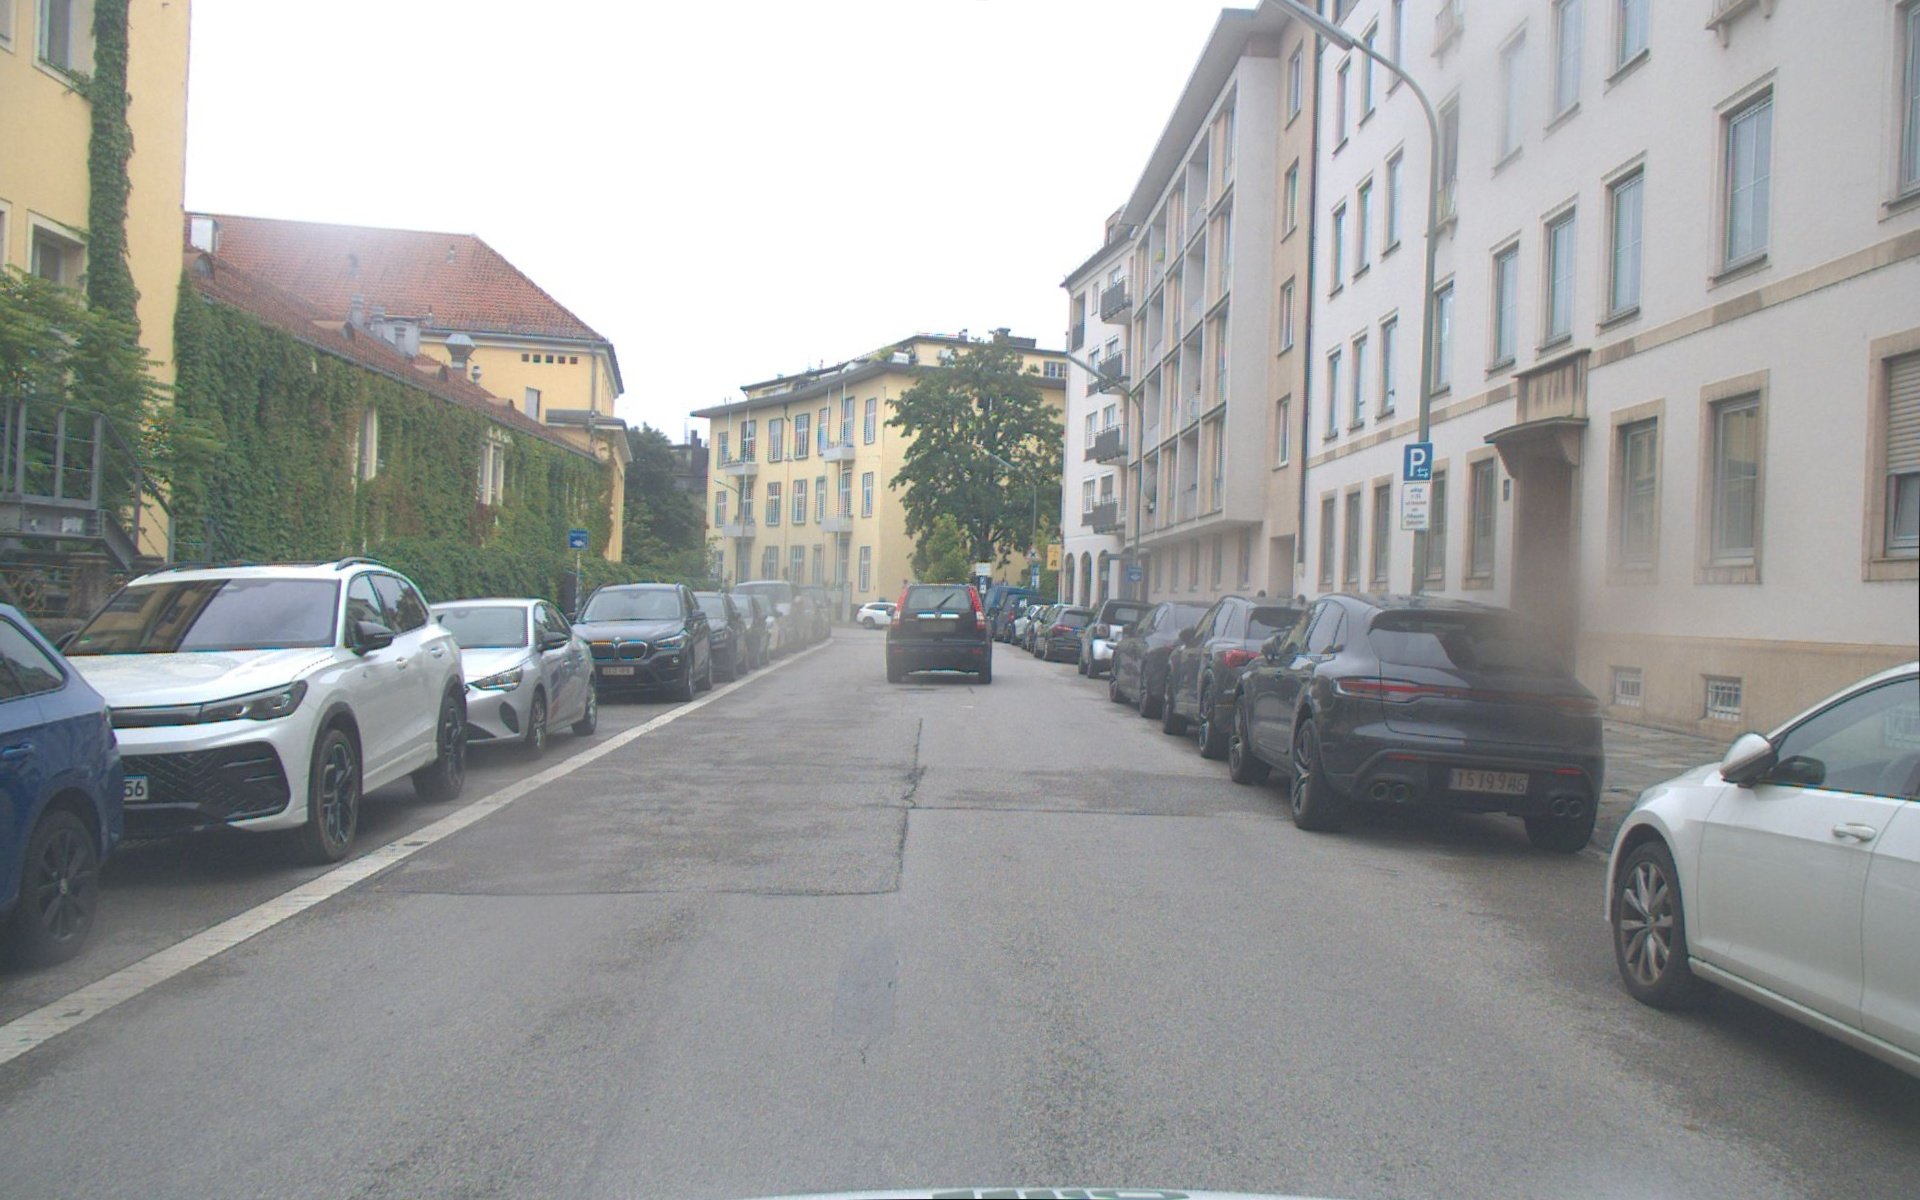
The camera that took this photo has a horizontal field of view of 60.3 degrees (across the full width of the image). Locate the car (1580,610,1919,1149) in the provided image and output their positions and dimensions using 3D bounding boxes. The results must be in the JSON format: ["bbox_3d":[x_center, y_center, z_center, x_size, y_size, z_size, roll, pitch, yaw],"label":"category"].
[{"bbox_3d":[3.564,0.851,5.117,1.658,1.489,4.083,4,0,0],"label":"car"}]

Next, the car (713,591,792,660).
[{"bbox_3d":[-4.865,0.566,39.132,1.547,1.518,3.728,1,0,-3],"label":"car"}]

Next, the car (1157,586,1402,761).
[{"bbox_3d":[3.219,0.662,17.465,1.742,1.612,4.271,0,1,0],"label":"car"}]

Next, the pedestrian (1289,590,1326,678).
[{"bbox_3d":[6.442,0.627,30.705,0.520,1.612,0.560,1,0,-1],"label":"pedestrian"}]

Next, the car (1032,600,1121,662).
[{"bbox_3d":[3.004,0.772,43.377,1.760,1.445,4.480,2,0,-3],"label":"car"}]

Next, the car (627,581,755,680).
[{"bbox_3d":[-4.636,0.477,29.054,1.746,1.564,4.146,1,1,-3],"label":"car"}]

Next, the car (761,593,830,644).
[{"bbox_3d":[-4.958,0.528,50.269,1.666,1.447,4.424,1,1,0],"label":"car"}]

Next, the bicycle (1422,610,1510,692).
[{"bbox_3d":[7.488,0.733,24.562,0.645,1.146,2.028,0,0,-1],"label":"bicycle"}]

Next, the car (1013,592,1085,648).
[{"bbox_3d":[2.602,0.559,49.321,1.704,1.525,4.217,1,0,-3],"label":"car"}]

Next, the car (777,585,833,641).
[{"bbox_3d":[-5.132,0.390,55.235,1.587,1.760,4.423,1,0,-2],"label":"car"}]

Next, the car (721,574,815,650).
[{"bbox_3d":[-5.097,0.276,44.448,1.953,1.908,4.758,1,1,0],"label":"car"}]

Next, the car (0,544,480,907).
[{"bbox_3d":[-4.205,0.568,9.890,1.647,1.662,4.353,-1,1,-4],"label":"car"}]

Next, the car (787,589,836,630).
[{"bbox_3d":[-5.415,0.334,60.667,1.587,1.402,4.070,1,0,-2],"label":"car"}]

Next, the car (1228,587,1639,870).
[{"bbox_3d":[3.209,0.758,12.143,1.742,1.612,4.330,3,0,1],"label":"car"}]

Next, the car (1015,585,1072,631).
[{"bbox_3d":[2.964,0.270,59.425,1.704,1.564,4.272,1,1,-1],"label":"car"}]

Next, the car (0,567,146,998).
[{"bbox_3d":[-4.204,0.676,5.039,1.646,1.531,3.971,-1,1,-4],"label":"car"}]

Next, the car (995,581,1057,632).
[{"bbox_3d":[2.542,0.214,64.804,1.925,1.848,4.932,1,1,-4],"label":"car"}]

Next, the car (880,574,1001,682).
[{"bbox_3d":[-0.327,0.434,29.128,1.954,1.723,4.380,1,0,0],"label":"car"}]

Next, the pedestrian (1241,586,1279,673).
[{"bbox_3d":[5.945,0.580,32.821,0.584,1.683,0.630,1,0,-1],"label":"pedestrian"}]

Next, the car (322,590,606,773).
[{"bbox_3d":[-4.468,0.649,15.472,1.646,1.450,3.892,-1,1,-3],"label":"car"}]

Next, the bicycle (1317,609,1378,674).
[{"bbox_3d":[7.424,0.771,31.767,0.645,1.183,2.028,0,0,-1],"label":"bicycle"}]

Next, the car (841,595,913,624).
[{"bbox_3d":[-5.107,0.583,101.312,3.908,1.646,1.998,1,0,25],"label":"car"}]

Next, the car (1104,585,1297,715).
[{"bbox_3d":[3.166,0.593,22.742,1.818,1.571,4.815,1,1,-2],"label":"car"}]

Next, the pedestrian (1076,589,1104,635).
[{"bbox_3d":[4.919,0.470,62.841,0.880,1.717,1.319,1,0,-3],"label":"pedestrian"}]

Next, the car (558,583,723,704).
[{"bbox_3d":[-4.428,0.546,23.492,1.746,1.565,4.193,0,0,-3],"label":"car"}]

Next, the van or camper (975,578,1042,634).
[{"bbox_3d":[2.028,0.232,70.604,2.021,2.270,5.430,1,0,-7],"label":"van or camper"}]

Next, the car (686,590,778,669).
[{"bbox_3d":[-4.631,0.564,34.002,1.547,1.481,3.902,1,1,-3],"label":"car"}]

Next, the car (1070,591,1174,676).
[{"bbox_3d":[3.212,0.622,33.409,1.637,1.561,3.880,1,0,-1],"label":"car"}]
